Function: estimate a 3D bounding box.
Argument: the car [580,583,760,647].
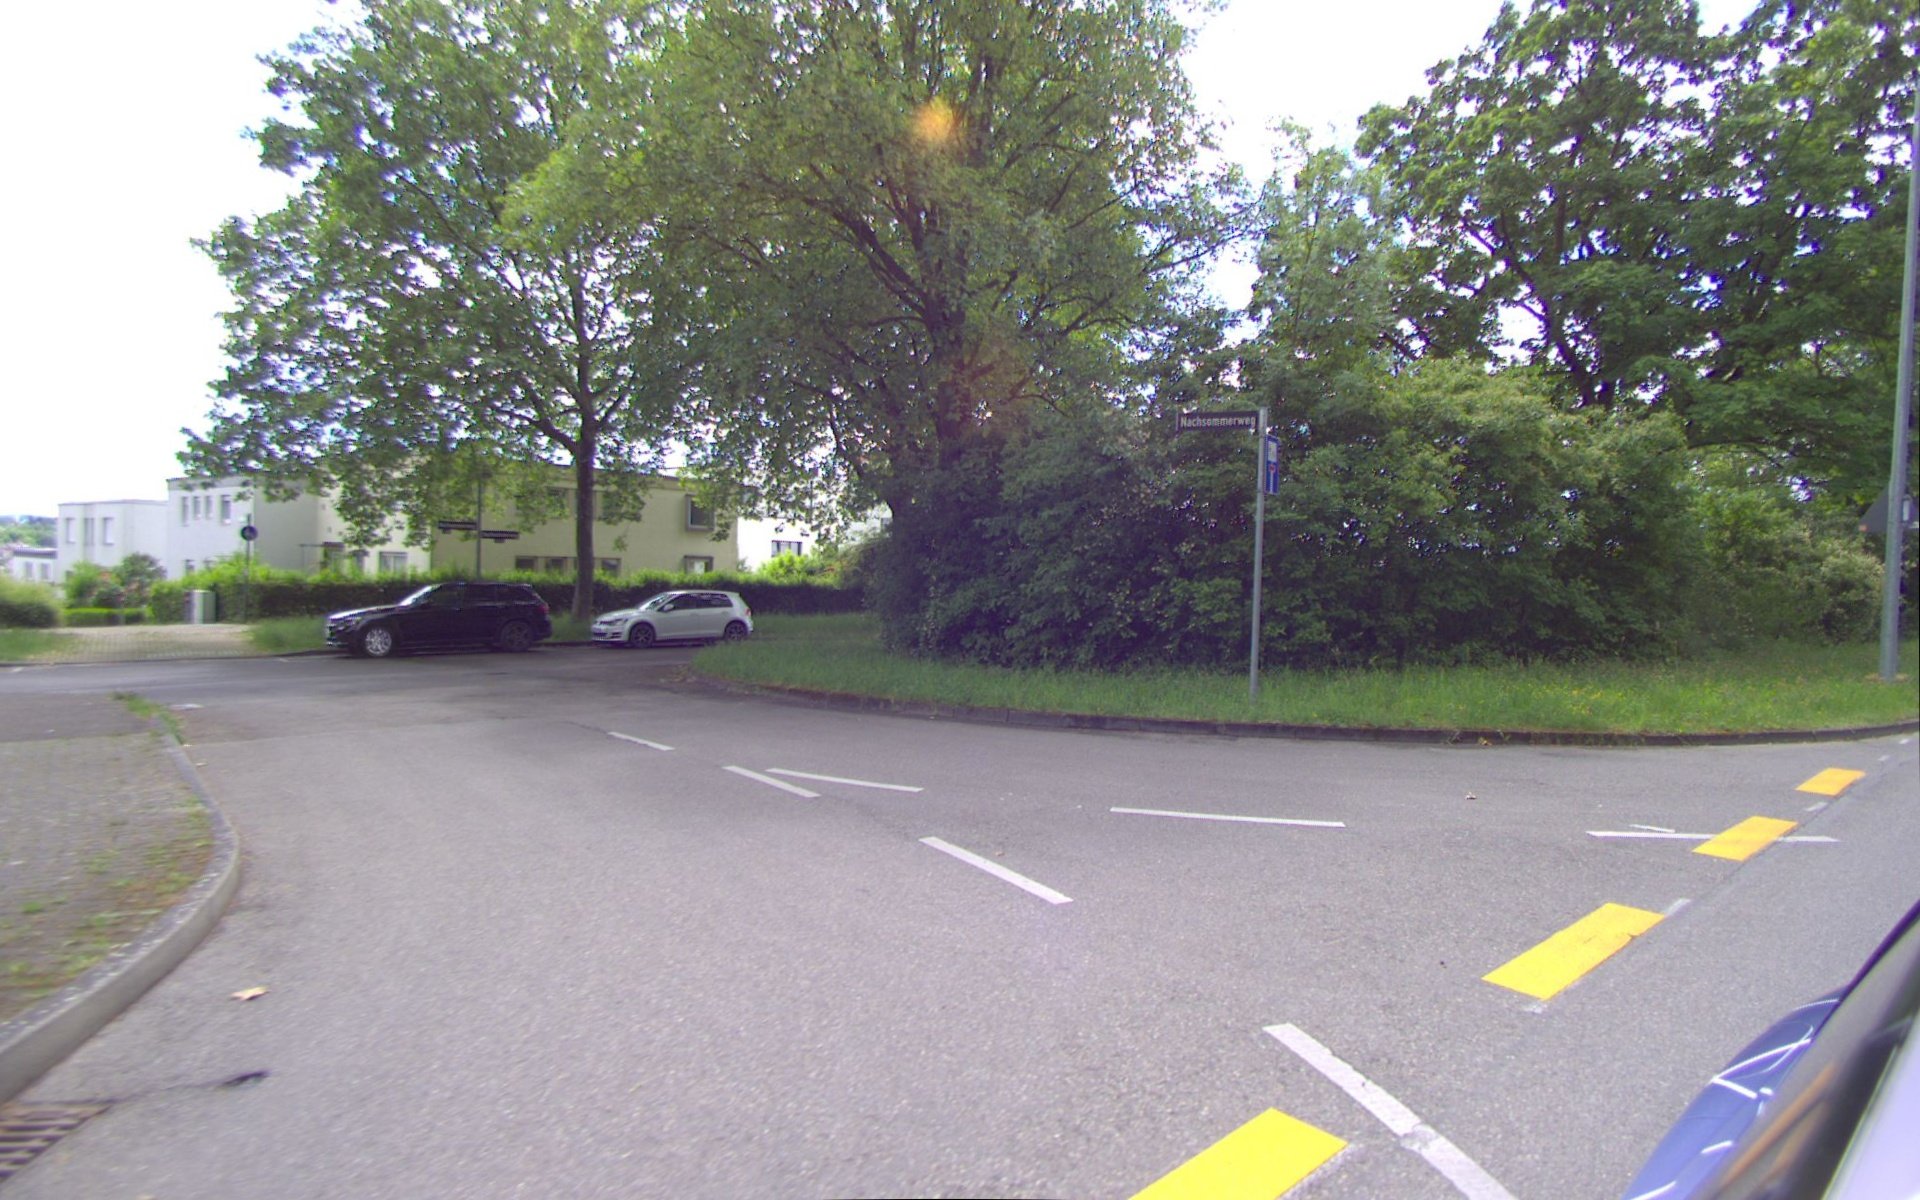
[{"bbox_3d":[-7.571,0.358,26.602,4.169,1.504,1.826,0,2,-41],"label":"car"}]

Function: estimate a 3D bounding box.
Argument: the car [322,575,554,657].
[{"bbox_3d":[-11.793,0.318,22.997,4.368,1.638,1.896,0,2,-41],"label":"car"}]
